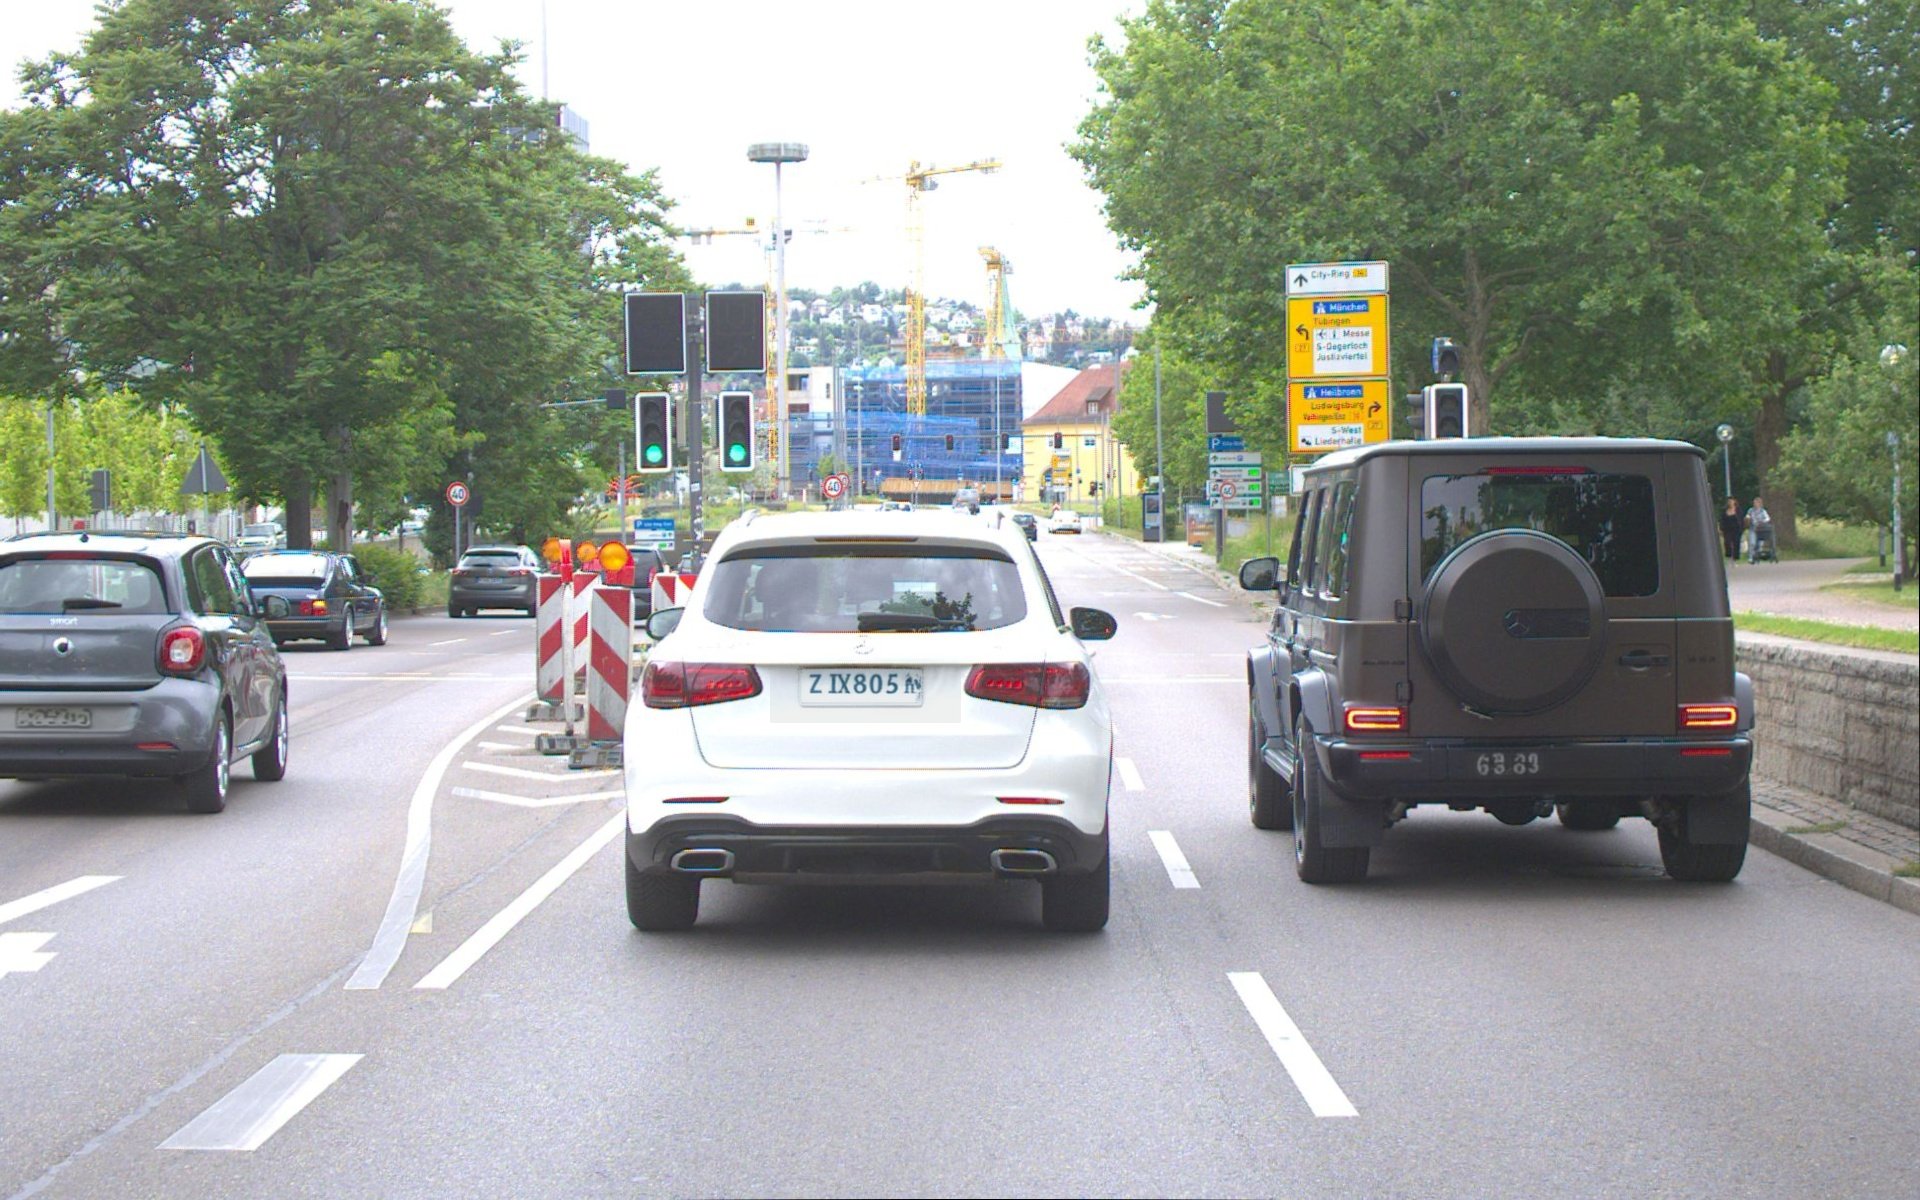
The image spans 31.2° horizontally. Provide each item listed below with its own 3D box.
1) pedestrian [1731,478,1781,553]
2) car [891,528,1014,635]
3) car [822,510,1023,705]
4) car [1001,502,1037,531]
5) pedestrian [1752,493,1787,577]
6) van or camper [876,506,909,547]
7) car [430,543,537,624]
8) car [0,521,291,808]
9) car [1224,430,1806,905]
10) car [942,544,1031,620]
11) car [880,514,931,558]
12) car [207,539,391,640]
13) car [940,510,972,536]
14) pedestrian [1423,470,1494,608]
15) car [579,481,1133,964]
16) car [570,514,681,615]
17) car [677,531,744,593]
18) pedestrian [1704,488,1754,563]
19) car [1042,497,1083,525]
[{"bbox_3d":[19.766,-2.096,85.389,0.996,1.830,1.029,2,0,5],"label":"pedestrian"},{"bbox_3d":[-0.158,-0.328,54.507,1.719,1.579,4.001,2,1,-3],"label":"car"},{"bbox_3d":[-0.337,0.063,31.435,1.672,1.622,4.000,2,0,0],"label":"car"},{"bbox_3d":[3.335,-4.764,195.618,1.719,1.579,4.001,2,1,-3],"label":"car"},{"bbox_3d":[19.706,-1.577,83.737,0.570,2.007,0.932,2,0,0],"label":"pedestrian"},{"bbox_3d":[-4.051,-4.412,205.642,1.922,2.312,4.000,1,-1,-2],"label":"van or camper"},{"bbox_3d":[-9.774,-0.362,70.793,1.753,1.548,4.001,2,1,-2],"label":"car"},{"bbox_3d":[-4.896,0.327,19.932,1.627,1.504,3.540,1,0,-5],"label":"car"},{"bbox_3d":[2.453,0.263,16.438,1.977,1.887,4.707,2,0,0],"label":"car"},{"bbox_3d":[0.567,-0.423,76.386,1.719,1.579,4.001,2,1,-3],"label":"car"},{"bbox_3d":[-2.244,-2.650,142.998,1.993,1.751,4.000,2,0,0],"label":"car"},{"bbox_3d":[-9.077,-0.174,47.475,1.719,1.288,4.000,2,1,0],"label":"car"},{"bbox_3d":[-0.256,-4.793,214.933,1.719,1.579,4.001,2,1,-3],"label":"car"},{"bbox_3d":[6.078,-0.742,41.939,0.697,1.650,0.684,2,0,-1],"label":"pedestrian"},{"bbox_3d":[-0.435,0.429,14.361,1.940,1.678,4.000,2,0,-2],"label":"car"},{"bbox_3d":[-5.925,-0.652,61.197,1.719,1.673,4.001,2,1,-3],"label":"car"},{"bbox_3d":[-6.756,-1.032,92.850,1.719,1.579,4.001,2,1,-5],"label":"car"},{"bbox_3d":[18.179,-1.763,81.265,0.896,1.726,0.969,2,1,0],"label":"pedestrian"},{"bbox_3d":[6.383,-5.528,214.811,1.993,1.612,4.001,2,0,-6],"label":"car"}]
